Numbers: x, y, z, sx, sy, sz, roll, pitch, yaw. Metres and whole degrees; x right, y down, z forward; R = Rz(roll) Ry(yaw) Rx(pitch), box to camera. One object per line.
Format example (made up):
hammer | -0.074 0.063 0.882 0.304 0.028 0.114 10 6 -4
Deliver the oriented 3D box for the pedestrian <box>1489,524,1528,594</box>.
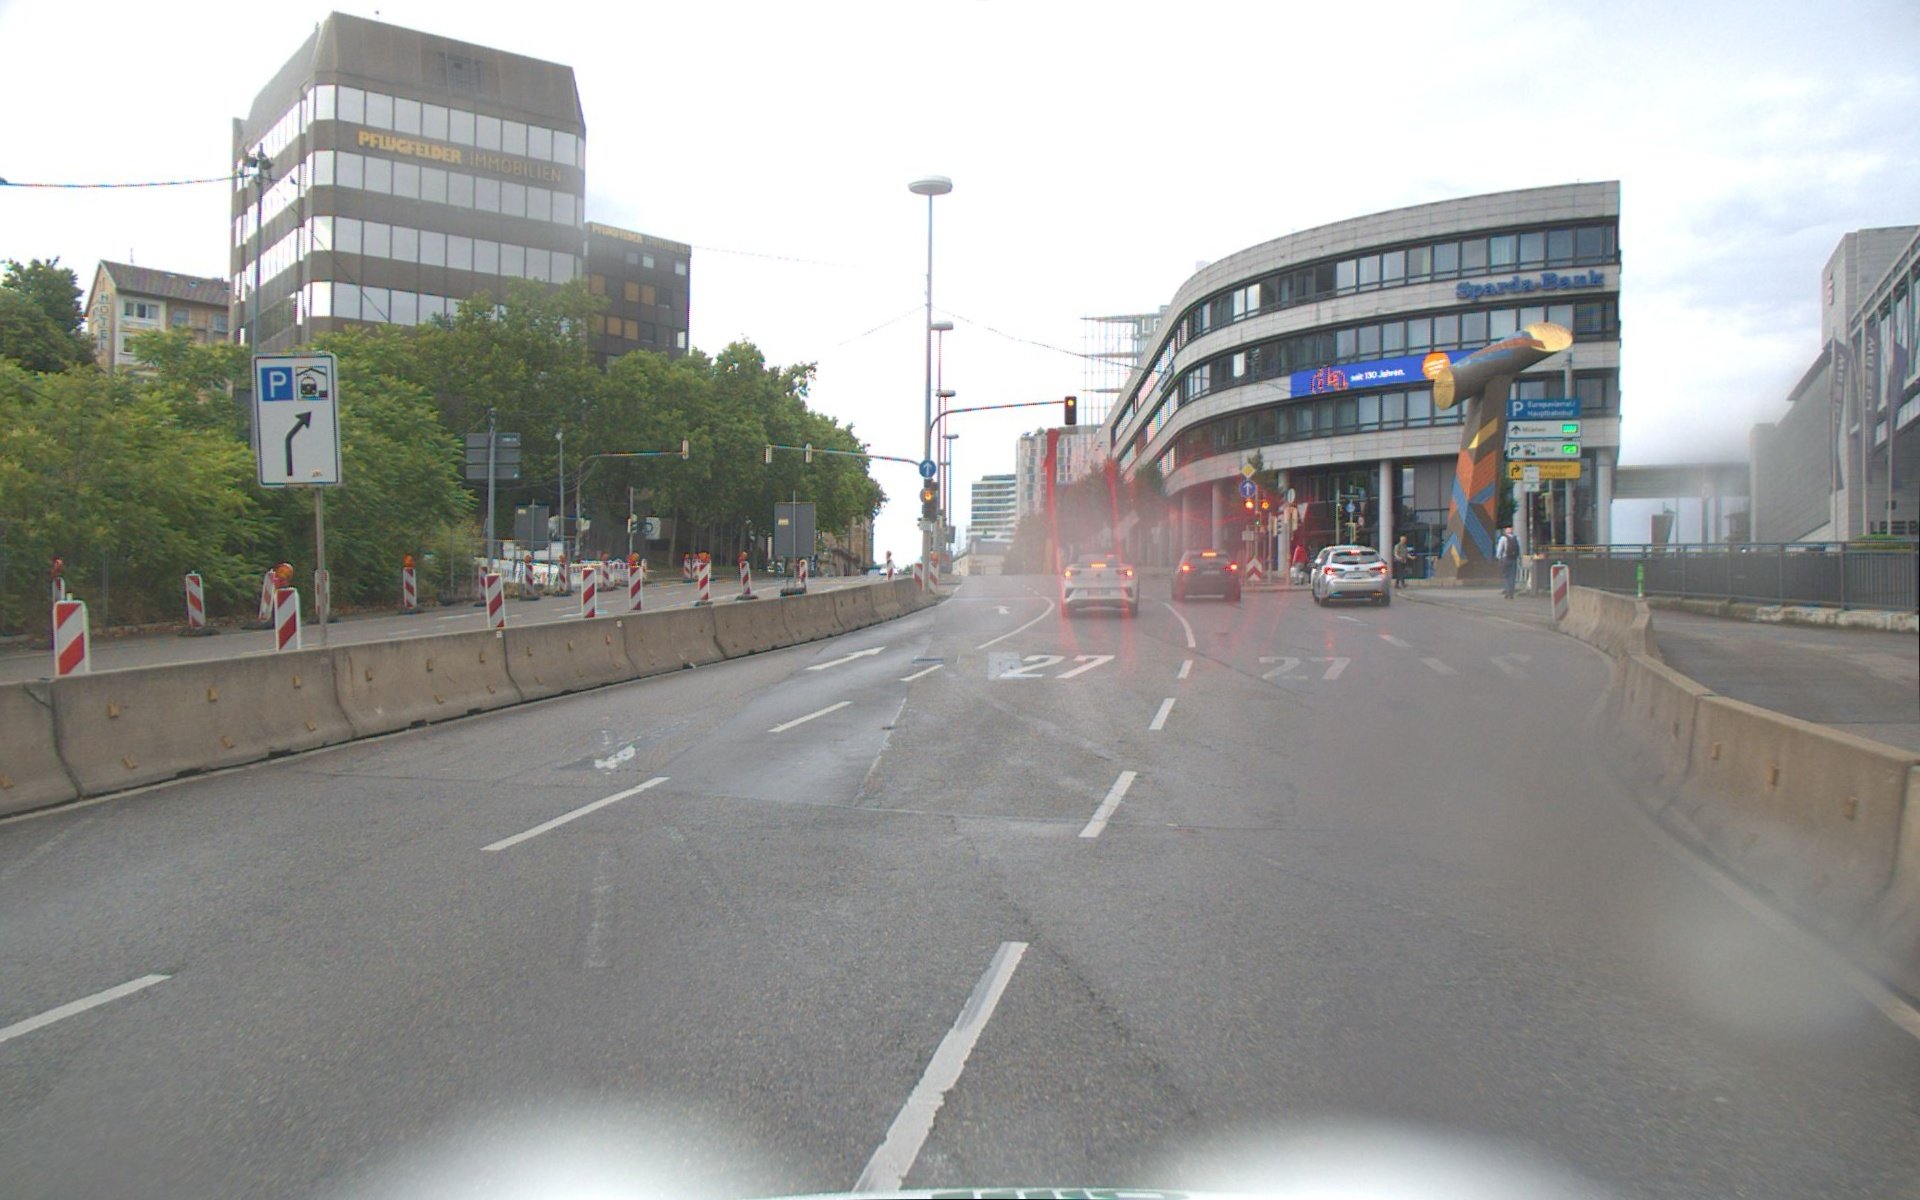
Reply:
pedestrian | 13.946 -1.043 42.084 0.714 1.741 0.843 0 -1 0

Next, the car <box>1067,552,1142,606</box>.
car | 4.119 -0.629 47.557 1.704 1.468 3.999 0 1 -2

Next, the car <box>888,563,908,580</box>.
car | -6.007 -2.781 160.216 1.725 1.486 4.360 -1 2 0

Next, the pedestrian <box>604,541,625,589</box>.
pedestrian | -14.038 -1.419 67.238 0.658 1.935 0.776 0 -1 3

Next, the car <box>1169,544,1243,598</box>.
car | 6.926 -0.795 46.899 1.718 1.432 4.230 2 0 4

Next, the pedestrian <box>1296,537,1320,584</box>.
pedestrian | 14.385 -1.620 68.354 0.824 1.938 0.731 0 0 27

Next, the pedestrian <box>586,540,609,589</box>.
pedestrian | -14.756 -1.436 67.304 0.745 1.956 0.742 0 -1 3

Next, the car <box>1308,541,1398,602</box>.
car | 10.116 -0.719 42.820 1.665 1.476 4.619 1 0 6

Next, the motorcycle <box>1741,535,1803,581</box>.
motorcycle | 25.514 -1.319 51.958 1.691 1.377 0.606 -1 1 -7

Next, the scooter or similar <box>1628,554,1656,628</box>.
scooter or similar | 11.077 -0.145 26.872 0.341 1.183 0.573 0 0 16

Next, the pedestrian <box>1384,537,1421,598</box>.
pedestrian | 15.874 -1.175 59.359 0.840 2.135 0.898 1 1 -22

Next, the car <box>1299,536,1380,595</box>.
car | 11.416 -1.051 49.531 1.735 1.662 4.582 0 2 21

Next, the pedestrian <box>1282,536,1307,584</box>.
pedestrian | 13.666 -1.628 67.541 0.824 1.938 0.860 0 -1 27

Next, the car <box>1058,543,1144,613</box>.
car | 3.357 -0.549 39.009 1.922 1.575 4.222 0 2 6
